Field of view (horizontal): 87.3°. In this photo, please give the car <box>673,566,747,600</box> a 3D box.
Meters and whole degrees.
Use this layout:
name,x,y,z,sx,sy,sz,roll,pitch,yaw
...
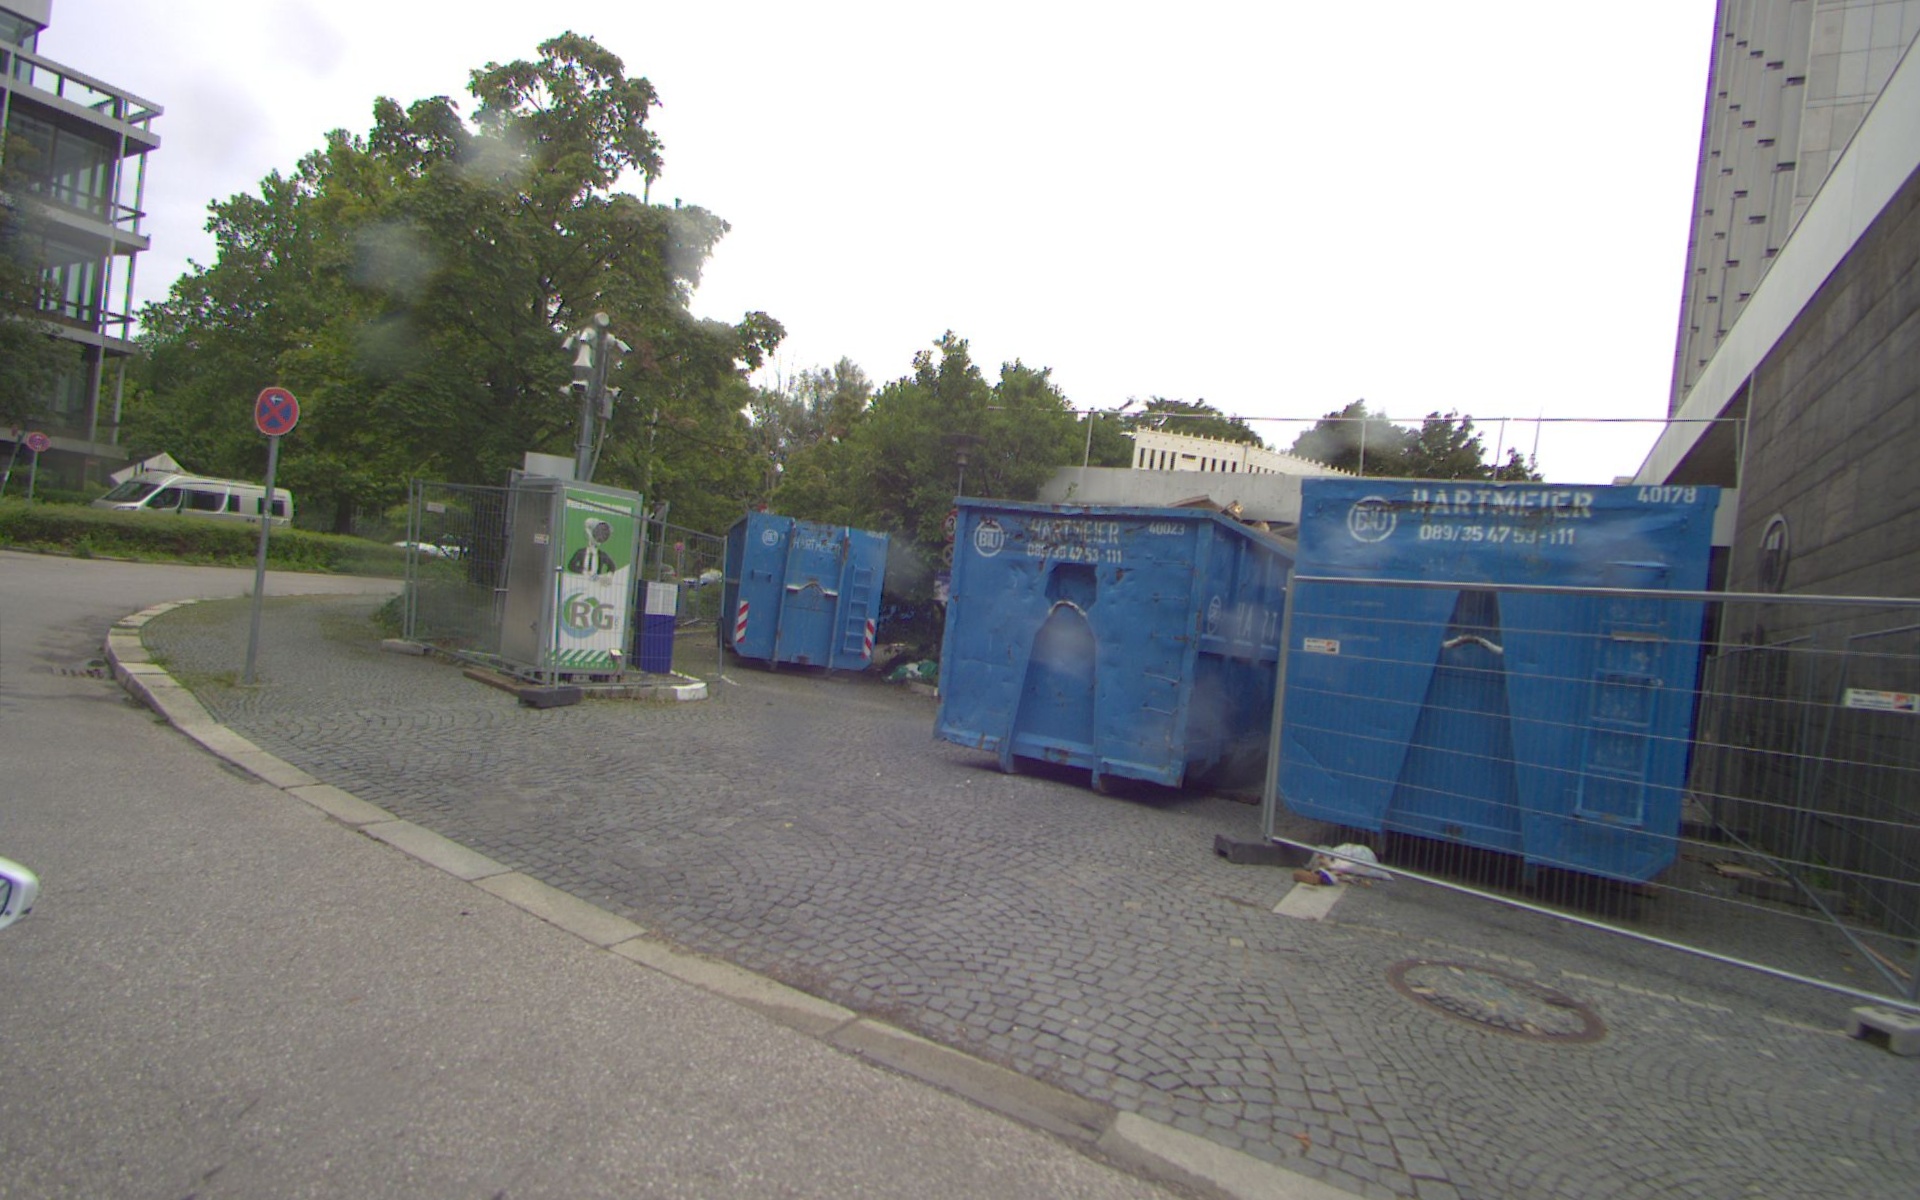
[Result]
name,x,y,z,sx,sy,sz,roll,pitch,yaw
car,-14.959,-0.988,60.295,1.966,1.594,3.992,7,0,31

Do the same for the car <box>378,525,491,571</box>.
name,x,y,z,sx,sy,sz,roll,pitch,yaw
car,-23.574,-2.314,45.234,1.966,1.527,3.992,7,0,31

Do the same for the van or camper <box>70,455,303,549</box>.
name,x,y,z,sx,sy,sz,roll,pitch,yaw
van or camper,-27.430,-3.395,36.096,2.212,2.309,6.421,7,0,16
